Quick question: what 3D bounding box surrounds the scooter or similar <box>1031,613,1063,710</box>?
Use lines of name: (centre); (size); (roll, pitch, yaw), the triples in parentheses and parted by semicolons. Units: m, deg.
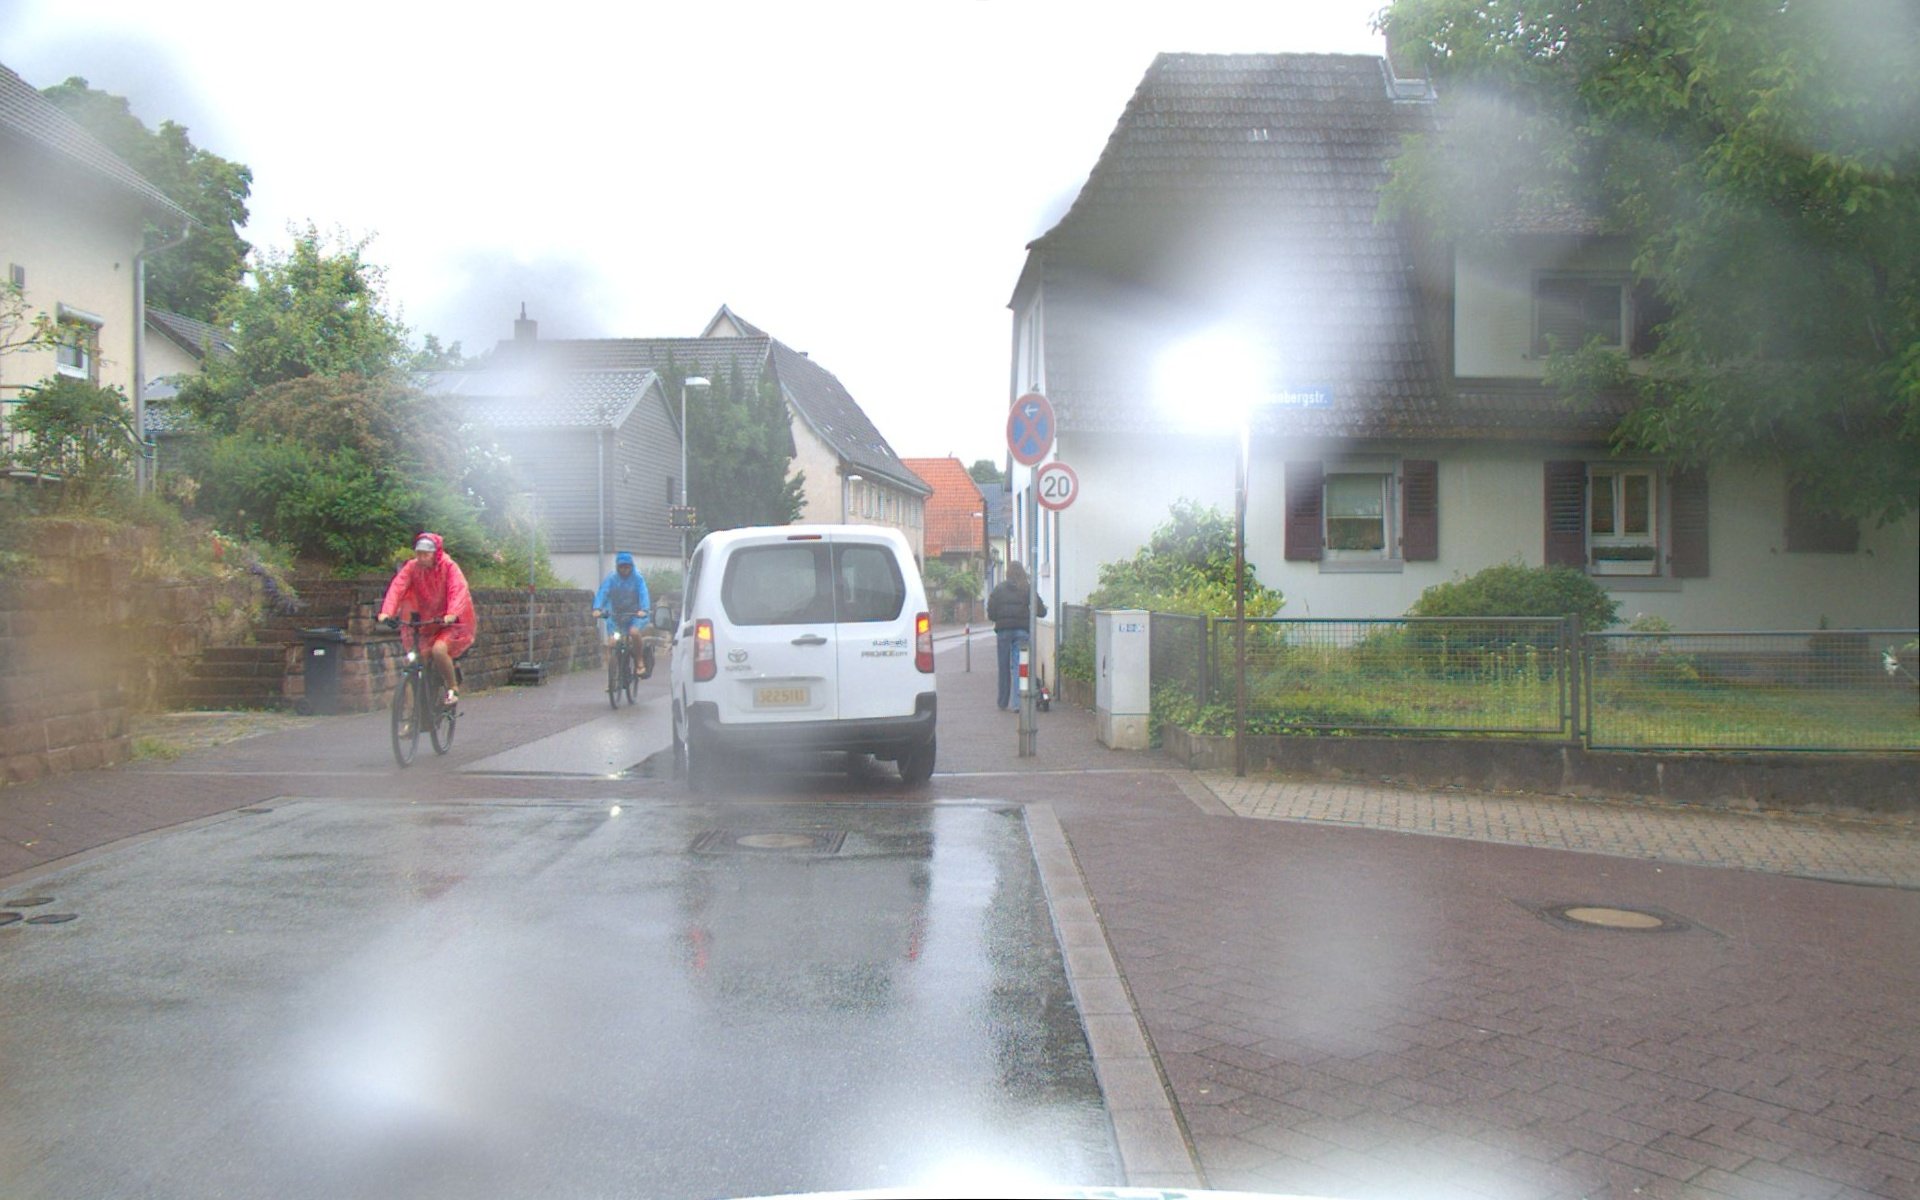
scooter or similar: (0.984, 0.687, 18.828); (0.240, 1.046, 1.100); (2, 0, -2)

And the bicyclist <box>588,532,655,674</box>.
bicyclist: (-4.256, 0.038, 20.841); (0.673, 1.743, 0.703); (1, -1, -1)

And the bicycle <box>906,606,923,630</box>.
bicycle: (-2.300, 0.899, 83.980); (0.473, 1.201, 1.837); (1, -1, 10)

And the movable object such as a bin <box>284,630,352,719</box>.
movable object such as a bin: (-7.022, 0.812, 18.101); (0.527, 0.946, 0.544); (1, -1, -4)

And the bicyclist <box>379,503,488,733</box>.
bicyclist: (-4.252, 0.132, 13.389); (0.643, 1.800, 0.703); (1, 1, -1)

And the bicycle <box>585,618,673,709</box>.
bicycle: (-4.167, 0.777, 20.990); (0.667, 1.069, 2.338); (1, -1, -1)

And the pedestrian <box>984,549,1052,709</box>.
pedestrian: (0.654, 0.323, 18.870); (0.680, 1.762, 0.821); (2, 0, -1)

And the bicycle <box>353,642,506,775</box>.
bicycle: (-4.270, 0.844, 13.459); (0.648, 0.885, 1.935); (1, 2, -1)

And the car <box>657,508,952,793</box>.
car: (-1.378, 0.378, 12.996); (1.764, 1.850, 4.088); (2, -1, -13)
